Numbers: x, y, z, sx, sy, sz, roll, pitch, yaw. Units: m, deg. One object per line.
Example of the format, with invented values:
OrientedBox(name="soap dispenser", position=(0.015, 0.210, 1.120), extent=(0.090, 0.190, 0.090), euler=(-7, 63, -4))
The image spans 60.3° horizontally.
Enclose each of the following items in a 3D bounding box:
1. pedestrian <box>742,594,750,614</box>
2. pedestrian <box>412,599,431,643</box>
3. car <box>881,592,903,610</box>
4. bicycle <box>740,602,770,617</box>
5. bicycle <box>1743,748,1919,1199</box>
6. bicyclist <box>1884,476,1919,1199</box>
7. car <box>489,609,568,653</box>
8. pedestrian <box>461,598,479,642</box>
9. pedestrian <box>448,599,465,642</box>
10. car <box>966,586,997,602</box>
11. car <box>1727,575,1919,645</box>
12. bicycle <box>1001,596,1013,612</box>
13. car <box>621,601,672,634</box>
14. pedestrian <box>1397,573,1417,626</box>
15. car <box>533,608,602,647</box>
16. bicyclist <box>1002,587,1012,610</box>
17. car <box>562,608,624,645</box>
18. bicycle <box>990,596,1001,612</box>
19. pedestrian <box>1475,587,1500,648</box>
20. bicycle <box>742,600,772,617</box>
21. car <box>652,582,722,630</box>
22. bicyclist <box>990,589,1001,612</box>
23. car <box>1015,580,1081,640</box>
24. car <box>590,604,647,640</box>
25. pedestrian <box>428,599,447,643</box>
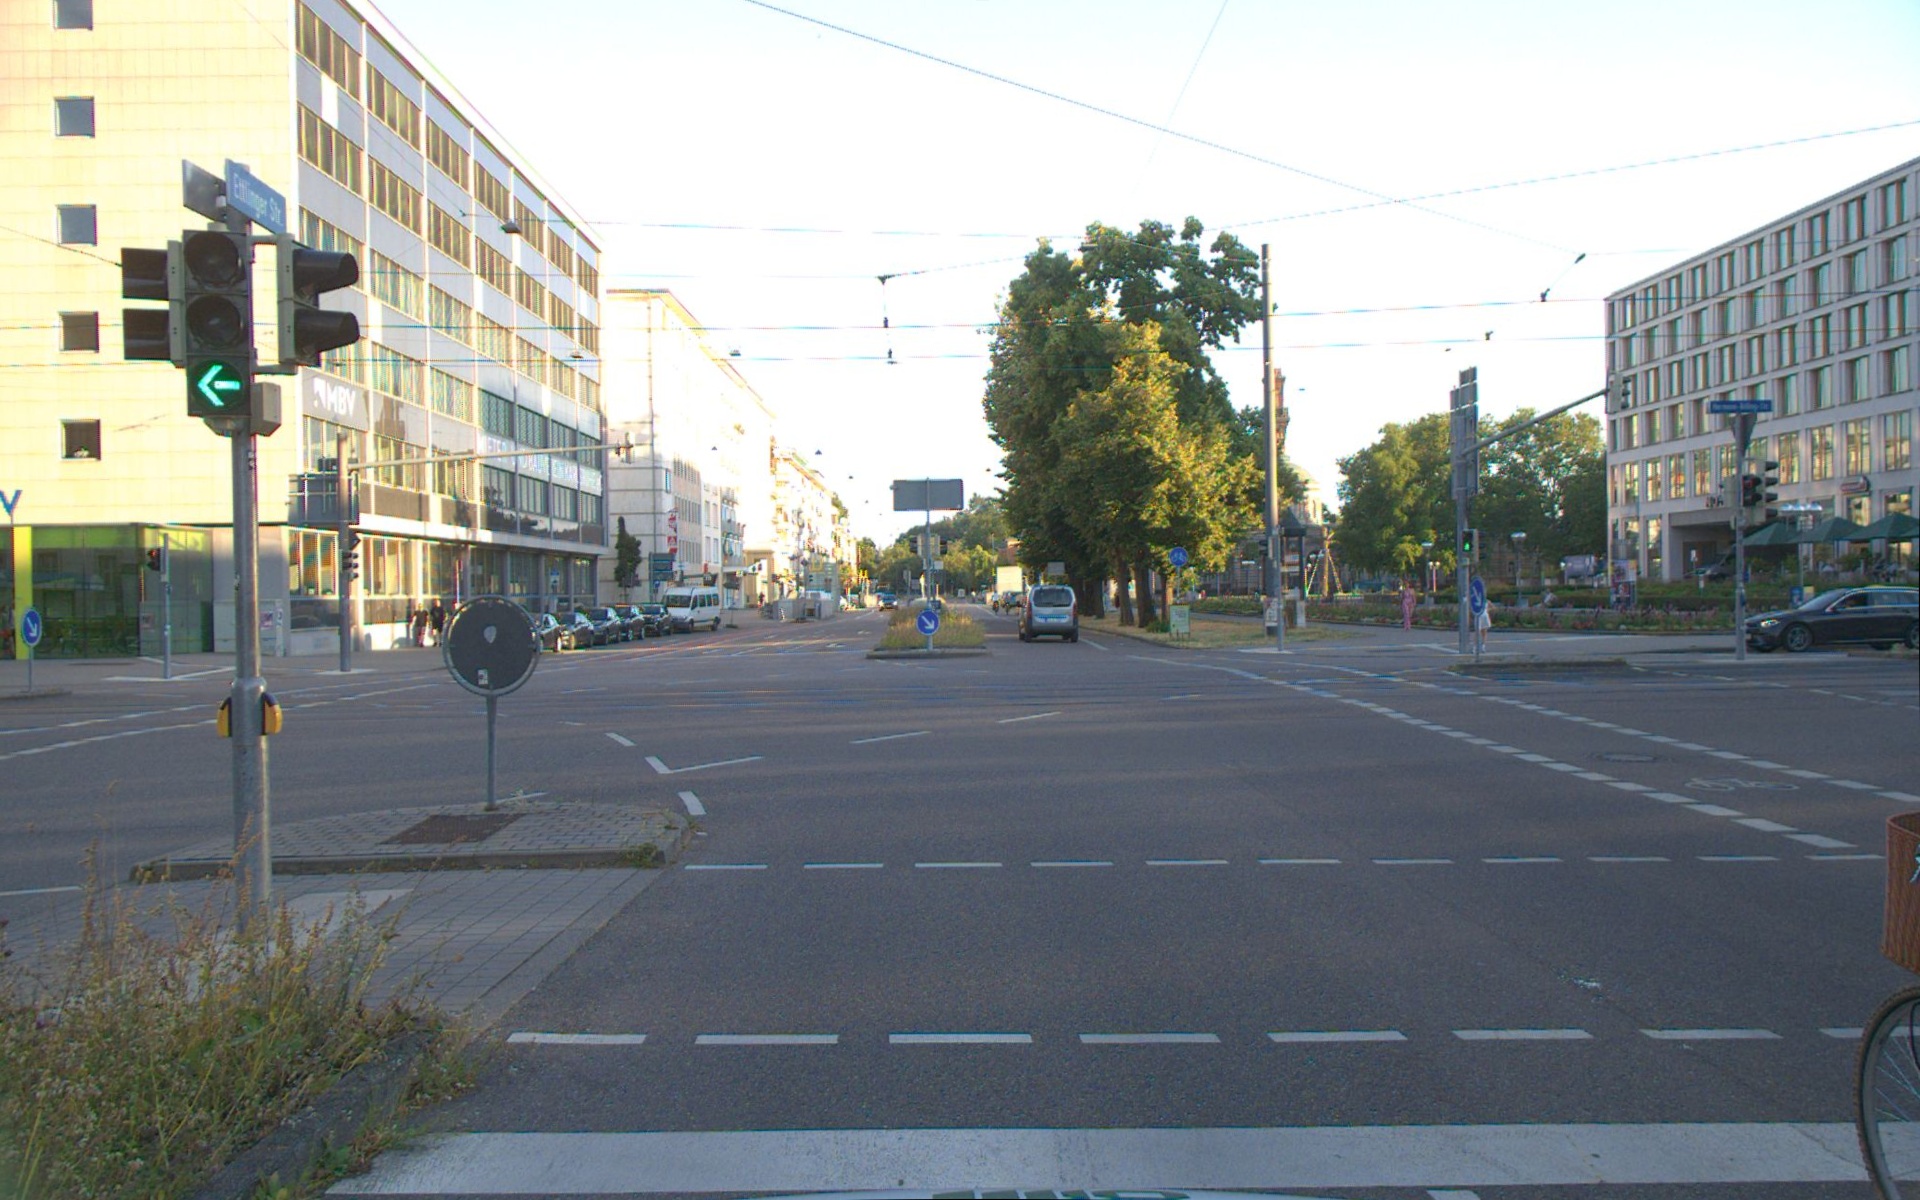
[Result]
OrientedBox(name="pedestrian", position=(-21.303, 0.398, 164.438), extent=(0.666, 2.049, 0.545), euler=(-1, 0, -1))
OrientedBox(name="pedestrian", position=(-21.116, 0.806, 64.822), extent=(0.540, 1.708, 0.500), euler=(-1, 0, -1))
OrientedBox(name="car", position=(-6.210, 0.069, 151.256), extent=(1.825, 1.546, 4.000), euler=(-1, 0, 0))
OrientedBox(name="bicycle", position=(-15.487, 0.725, 125.066), extent=(2.161, 1.132, 0.618), euler=(-1, 0, -3))
OrientedBox(name="bicycle", position=(2.184, 0.935, 2.953), extent=(0.599, 1.152, 2.004), euler=(0, 0, -1))
OrientedBox(name="bicyclist", position=(2.191, 0.591, 2.883), extent=(0.587, 1.665, 0.998), euler=(0, 0, -1))
OrientedBox(name="car", position=(-16.010, 1.142, 61.565), extent=(1.882, 1.489, 4.102), euler=(-1, 0, -1))
OrientedBox(name="pedestrian", position=(-19.286, 0.788, 65.061), extent=(0.540, 1.708, 0.500), euler=(-1, 0, -1))
OrientedBox(name="pedestrian", position=(-19.974, 0.814, 65.571), extent=(0.490, 1.708, 0.500), euler=(-1, 0, -1))
OrientedBox(name="car", position=(2.792, -0.781, 215.495), extent=(3.909, 2.049, 1.998), euler=(-1, 0, -5))
OrientedBox(name="car", position=(21.320, 0.222, 39.850), extent=(4.724, 1.542, 2.000), euler=(-1, 0, 1))
OrientedBox(name="bicycle", position=(3.565, 0.316, 125.064), extent=(0.731, 1.164, 2.505), euler=(-1, 0, -1))
OrientedBox(name="car", position=(-15.963, 0.884, 84.444), extent=(1.882, 1.595, 3.999), euler=(-1, 0, -1))
OrientedBox(name="pedestrian", position=(14.581, -0.017, 53.913), extent=(0.451, 1.685, 0.566), euler=(-1, 0, -1))
OrientedBox(name="car", position=(-16.120, 1.114, 68.094), extent=(1.882, 1.489, 3.999), euler=(-1, 0, -1))
OrientedBox(name="bicyclist", position=(3.554, -0.106, 124.961), extent=(0.731, 1.720, 0.799), euler=(-1, 0, -1))
OrientedBox(name="car", position=(-16.140, 1.143, 72.908), extent=(1.882, 1.489, 3.999), euler=(-1, 0, -1))
OrientedBox(name="bicycle", position=(2.697, 0.273, 125.283), extent=(0.731, 1.164, 2.505), euler=(-1, 0, -1))
OrientedBox(name="pedestrian", position=(13.863, 0.456, 43.475), extent=(0.480, 1.567, 0.408), euler=(-1, 0, -1))
OrientedBox(name="bicycle", position=(-15.779, 0.686, 128.553), extent=(2.161, 1.258, 0.839), euler=(-1, 0, -2))
OrientedBox(name="car", position=(-14.946, 0.307, 90.920), extent=(1.958, 2.521, 5.873), euler=(-1, 0, 9))
OrientedBox(name="bicyclist", position=(2.694, 0.020, 124.727), extent=(0.731, 1.692, 0.873), euler=(-1, 0, -1))
OrientedBox(name="car", position=(2.942, 0.320, 55.891), extent=(1.728, 1.921, 4.497), euler=(-1, 0, -3))
OrientedBox(name="car", position=(-16.136, 1.021, 78.212), extent=(1.882, 1.595, 3.999), euler=(-1, 0, -1))
OrientedBox(name="pedestrian", position=(-20.713, 0.817, 65.575), extent=(0.540, 1.708, 0.500), euler=(-1, 0, -1))
